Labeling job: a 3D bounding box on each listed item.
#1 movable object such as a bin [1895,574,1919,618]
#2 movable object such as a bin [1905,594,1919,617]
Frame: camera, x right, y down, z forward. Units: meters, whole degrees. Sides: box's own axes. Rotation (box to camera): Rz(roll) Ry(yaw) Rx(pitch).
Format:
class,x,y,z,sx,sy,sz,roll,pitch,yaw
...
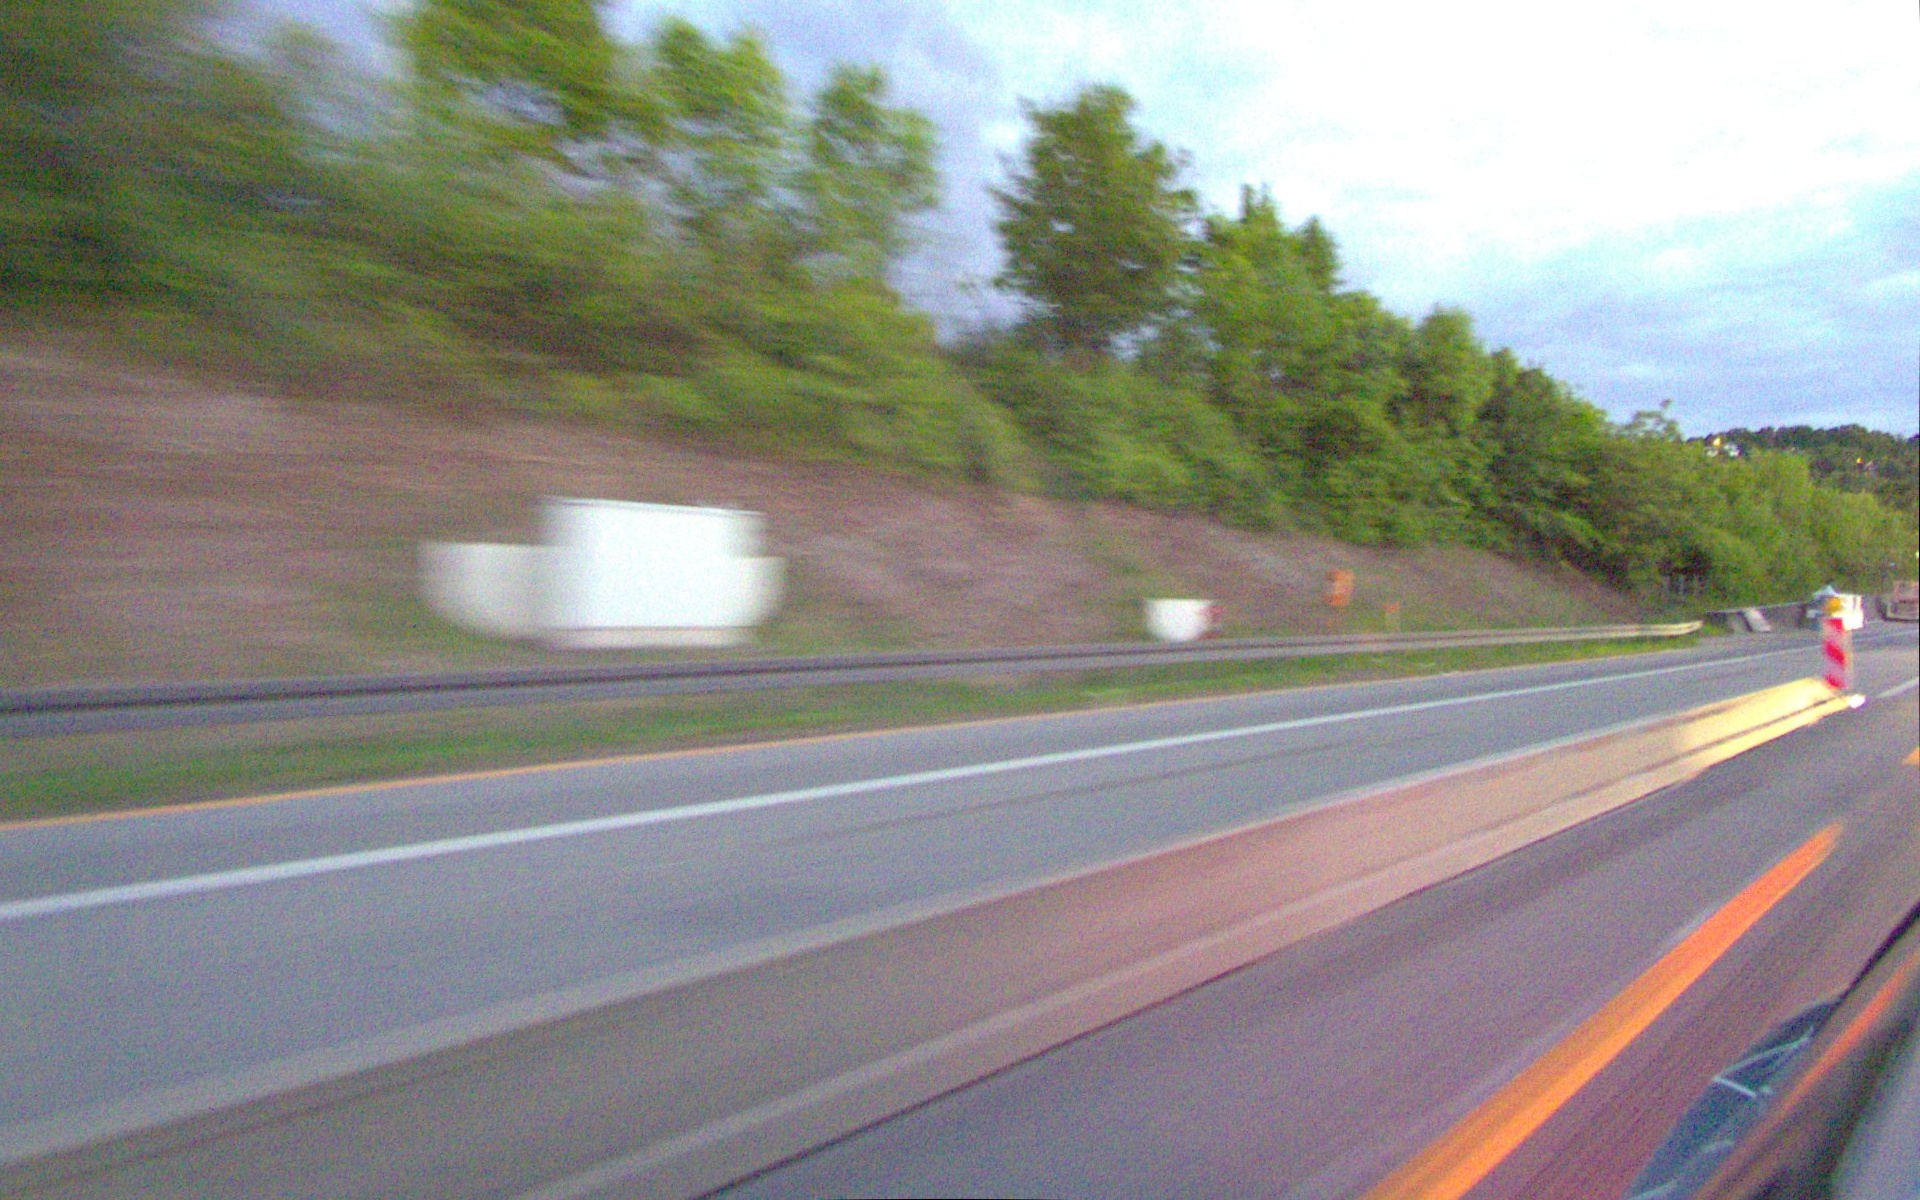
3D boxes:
class,x,y,z,sx,sy,sz,roll,pitch,yaw
movable object such as a bin,70.395,-0.280,73.962,5.709,3.147,2.624,0,1,-43
movable object such as a bin,73.853,0.437,77.403,4.015,1.621,1.997,-1,3,-42
